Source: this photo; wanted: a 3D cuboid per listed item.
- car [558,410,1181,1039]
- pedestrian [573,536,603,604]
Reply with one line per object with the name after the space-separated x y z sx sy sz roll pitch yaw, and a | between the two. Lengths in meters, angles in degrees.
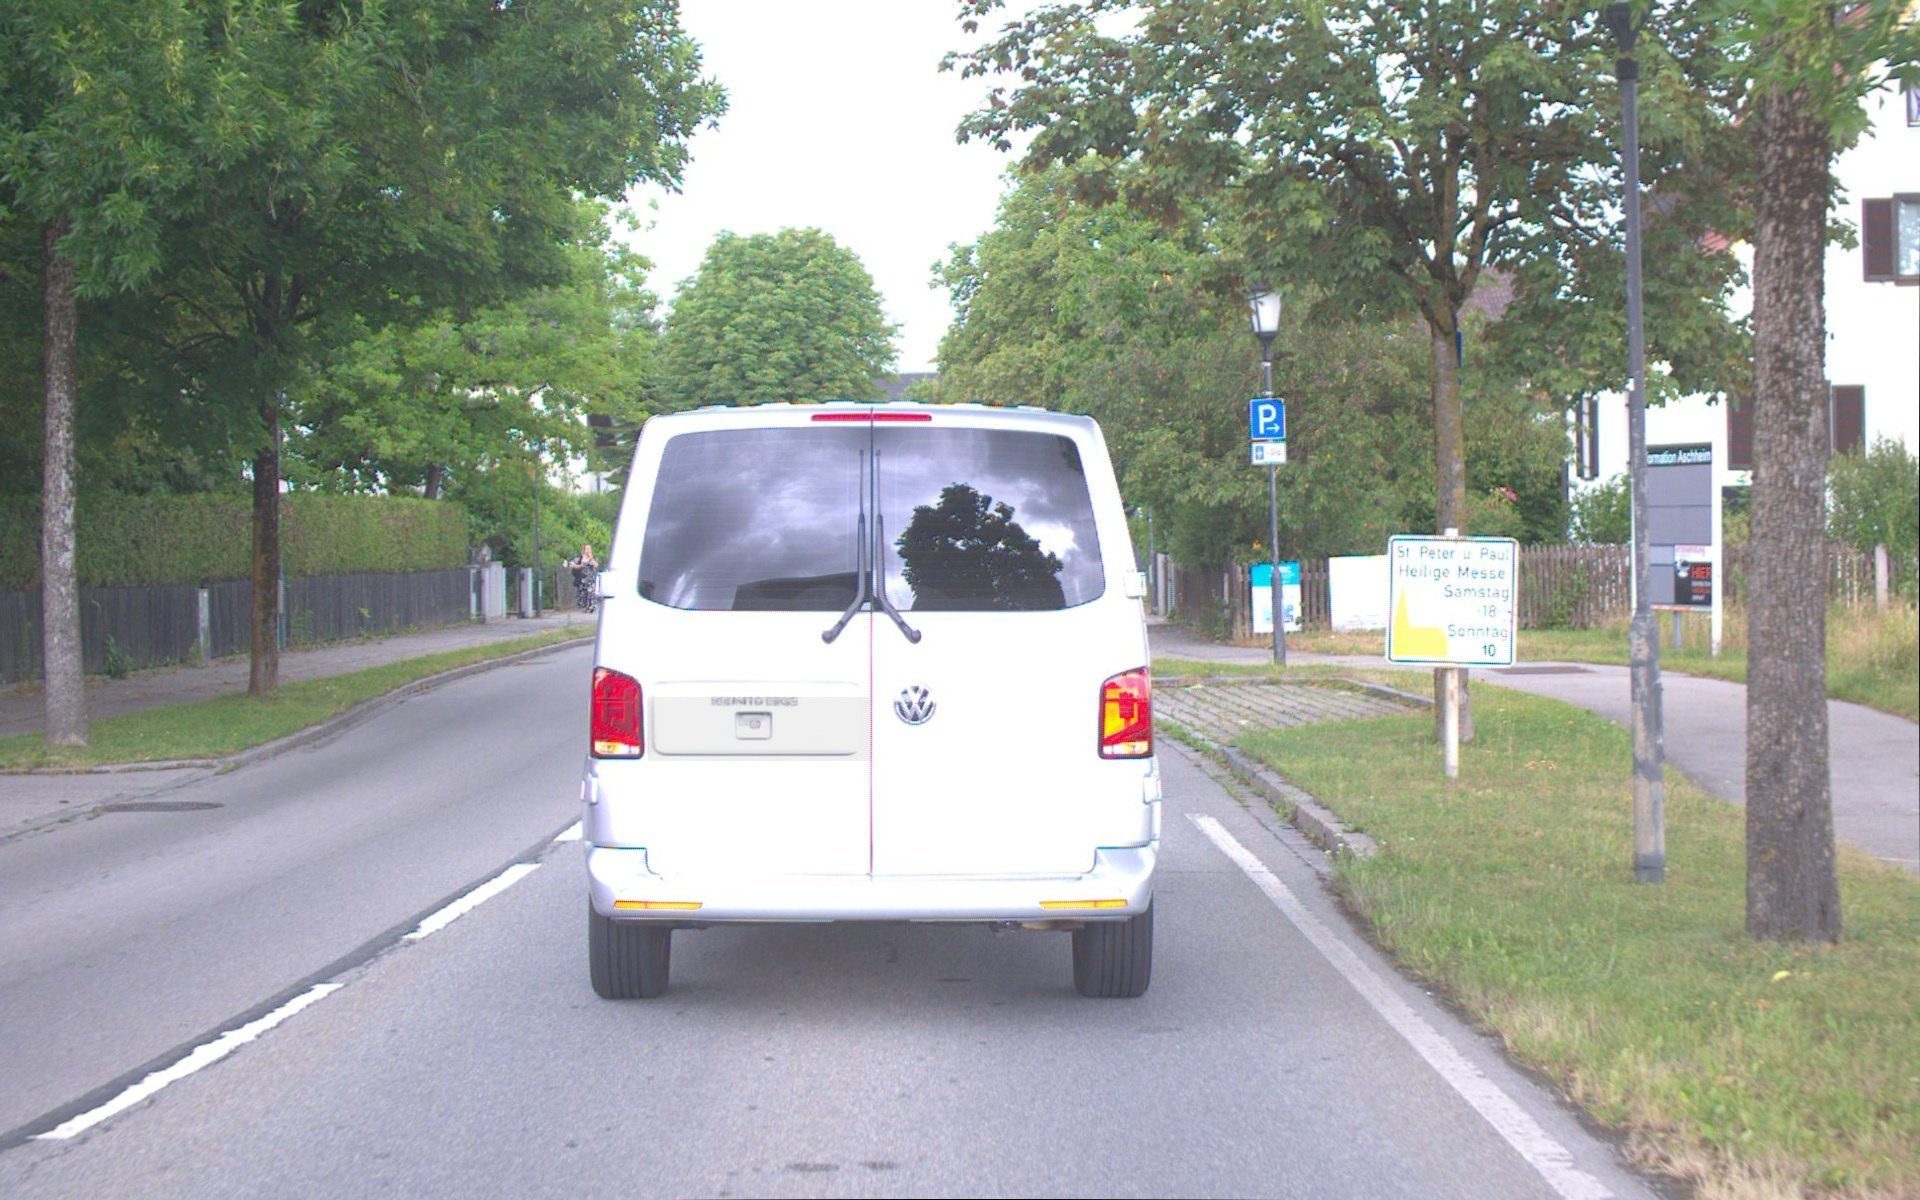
-0.275 0.351 12.443 1.888 1.905 4.000 0 1 0 | car
-8.427 -0.684 77.962 0.622 1.544 0.522 1 1 -3 | pedestrian
